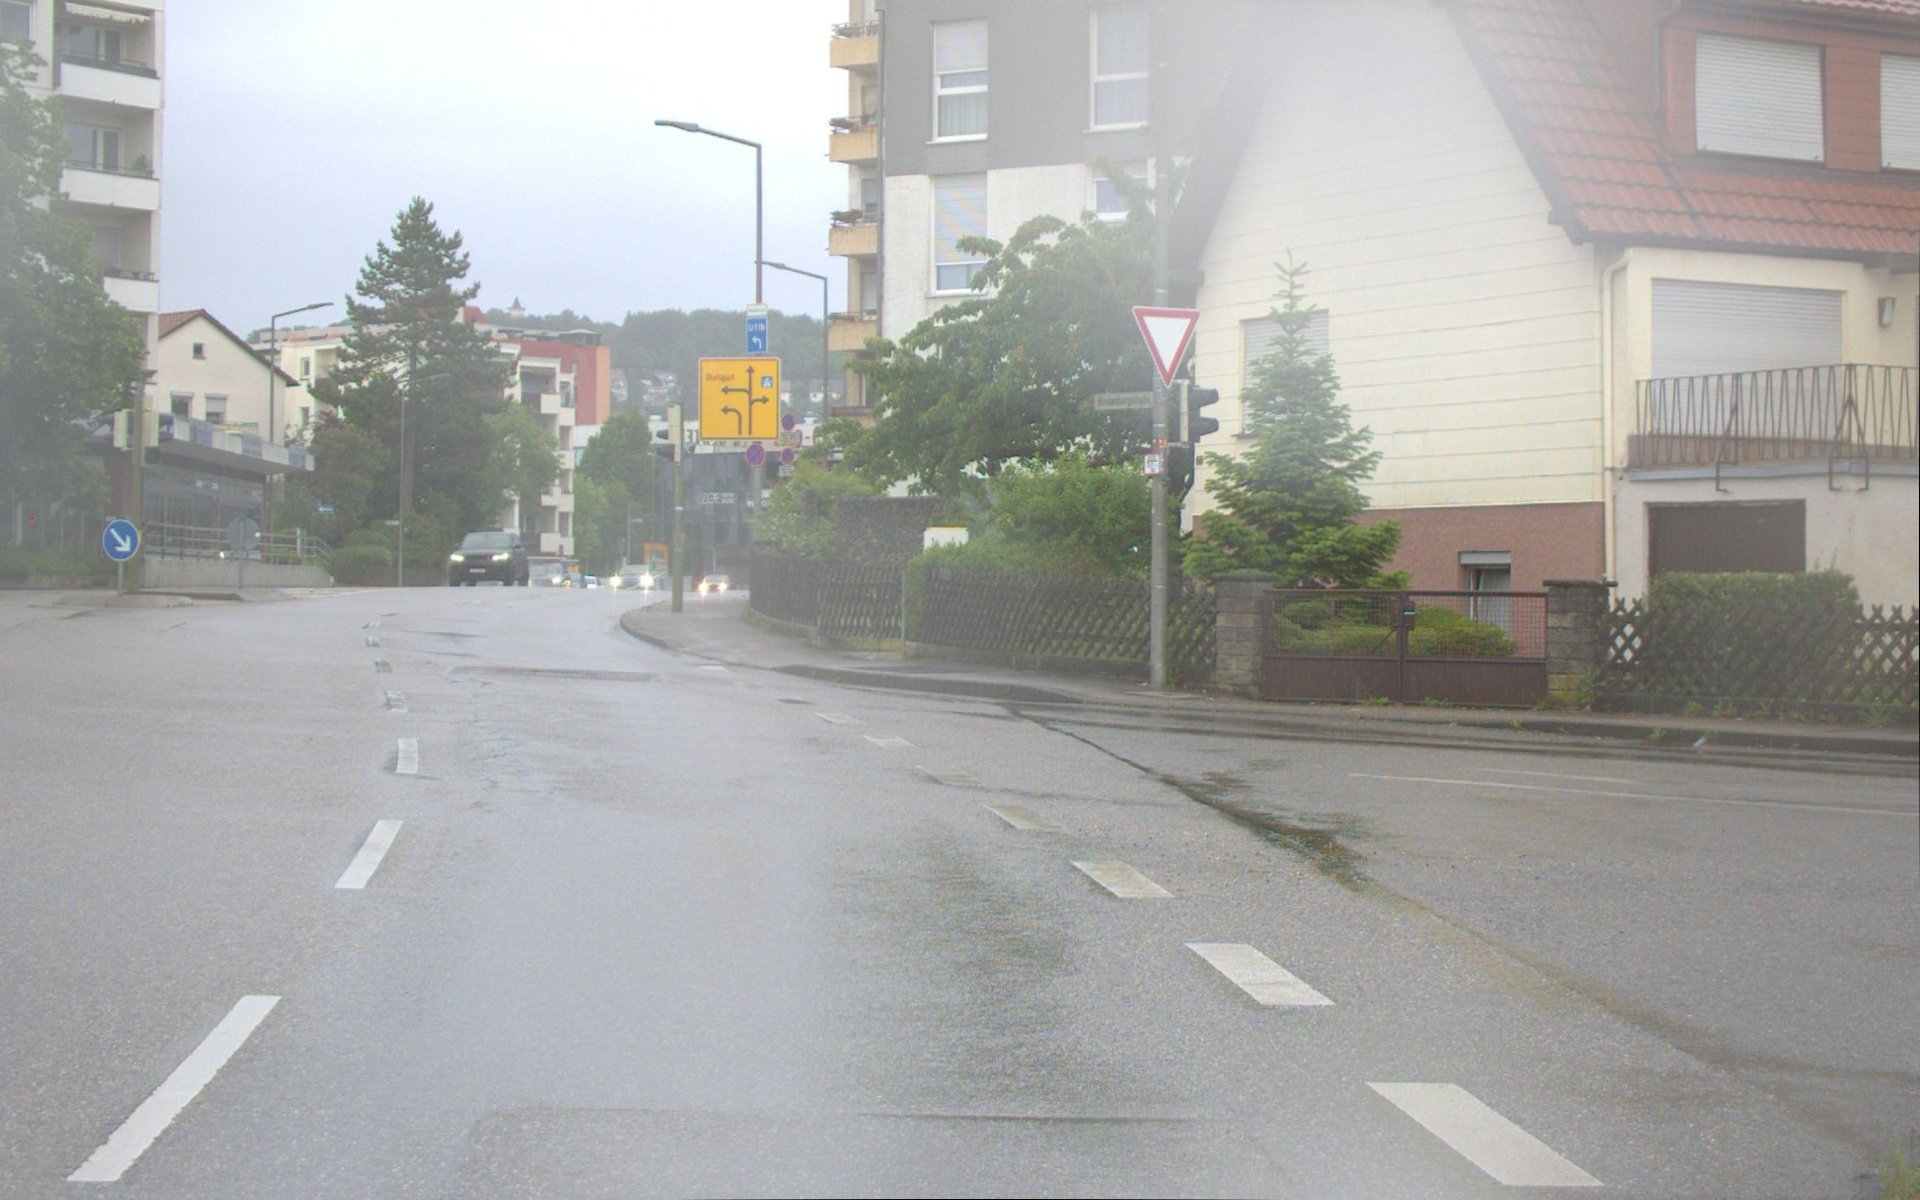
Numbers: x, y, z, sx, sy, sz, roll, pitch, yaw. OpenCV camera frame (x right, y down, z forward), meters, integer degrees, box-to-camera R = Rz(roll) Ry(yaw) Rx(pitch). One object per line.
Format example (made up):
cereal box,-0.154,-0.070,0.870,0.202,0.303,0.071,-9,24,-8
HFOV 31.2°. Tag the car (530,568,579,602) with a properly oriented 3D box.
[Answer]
car,-17.922,-0.677,152.011,1.993,1.458,4.001,1,1,-5

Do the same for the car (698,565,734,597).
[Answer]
car,-14.175,-1.118,199.469,1.993,1.805,4.001,1,1,-5

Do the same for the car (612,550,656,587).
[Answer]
car,-15.194,-1.489,160.429,1.993,1.673,4.001,1,1,-5

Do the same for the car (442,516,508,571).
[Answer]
car,-15.801,-1.838,112.210,1.993,1.731,5.182,1,1,-7
